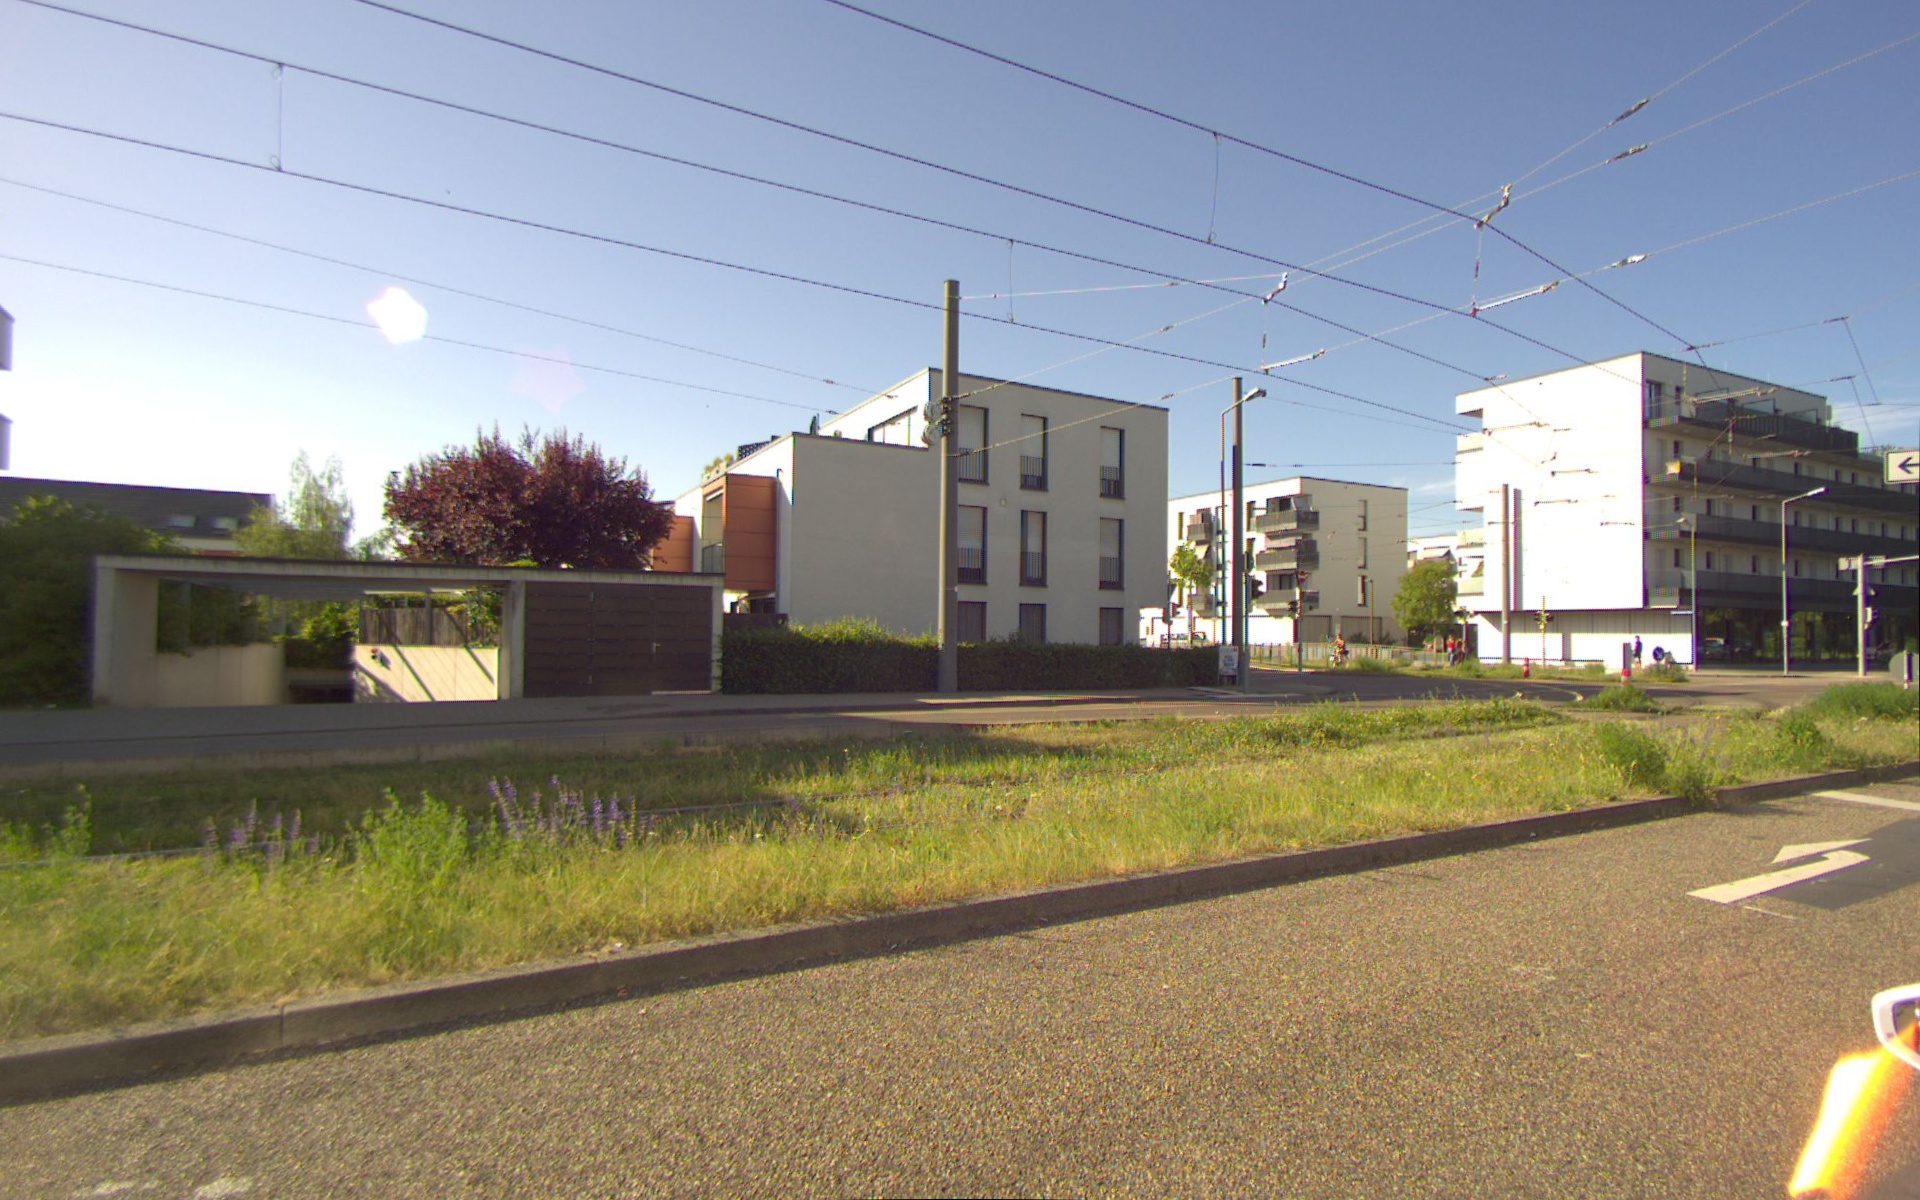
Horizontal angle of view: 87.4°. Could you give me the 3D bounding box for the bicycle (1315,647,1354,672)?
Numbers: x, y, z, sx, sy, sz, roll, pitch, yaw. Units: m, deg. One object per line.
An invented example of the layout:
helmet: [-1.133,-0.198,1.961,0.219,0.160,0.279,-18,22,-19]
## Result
bicycle: [17.434,2.760,46.729,1.843,1.139,0.814,2,0,-36]

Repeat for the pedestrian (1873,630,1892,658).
pedestrian: [52.523,2.508,57.180,0.589,1.529,0.639,2,0,-32]

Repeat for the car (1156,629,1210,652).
car: [17.784,3.206,80.315,1.974,1.595,4.309,2,0,-27]

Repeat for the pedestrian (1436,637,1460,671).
pedestrian: [24.068,2.656,49.537,0.736,1.626,0.765,2,0,-37]

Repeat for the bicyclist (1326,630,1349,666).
bicyclist: [17.583,2.225,46.777,0.634,1.635,0.777,2,0,-35]

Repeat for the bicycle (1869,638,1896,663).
bicycle: [52.506,2.868,57.179,1.891,1.350,0.627,2,0,-32]

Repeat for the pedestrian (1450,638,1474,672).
pedestrian: [24.364,2.660,48.741,0.736,1.626,0.765,2,0,-37]

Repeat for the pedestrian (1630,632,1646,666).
pedestrian: [35.918,2.582,53.229,0.513,1.767,0.539,2,0,-35]
